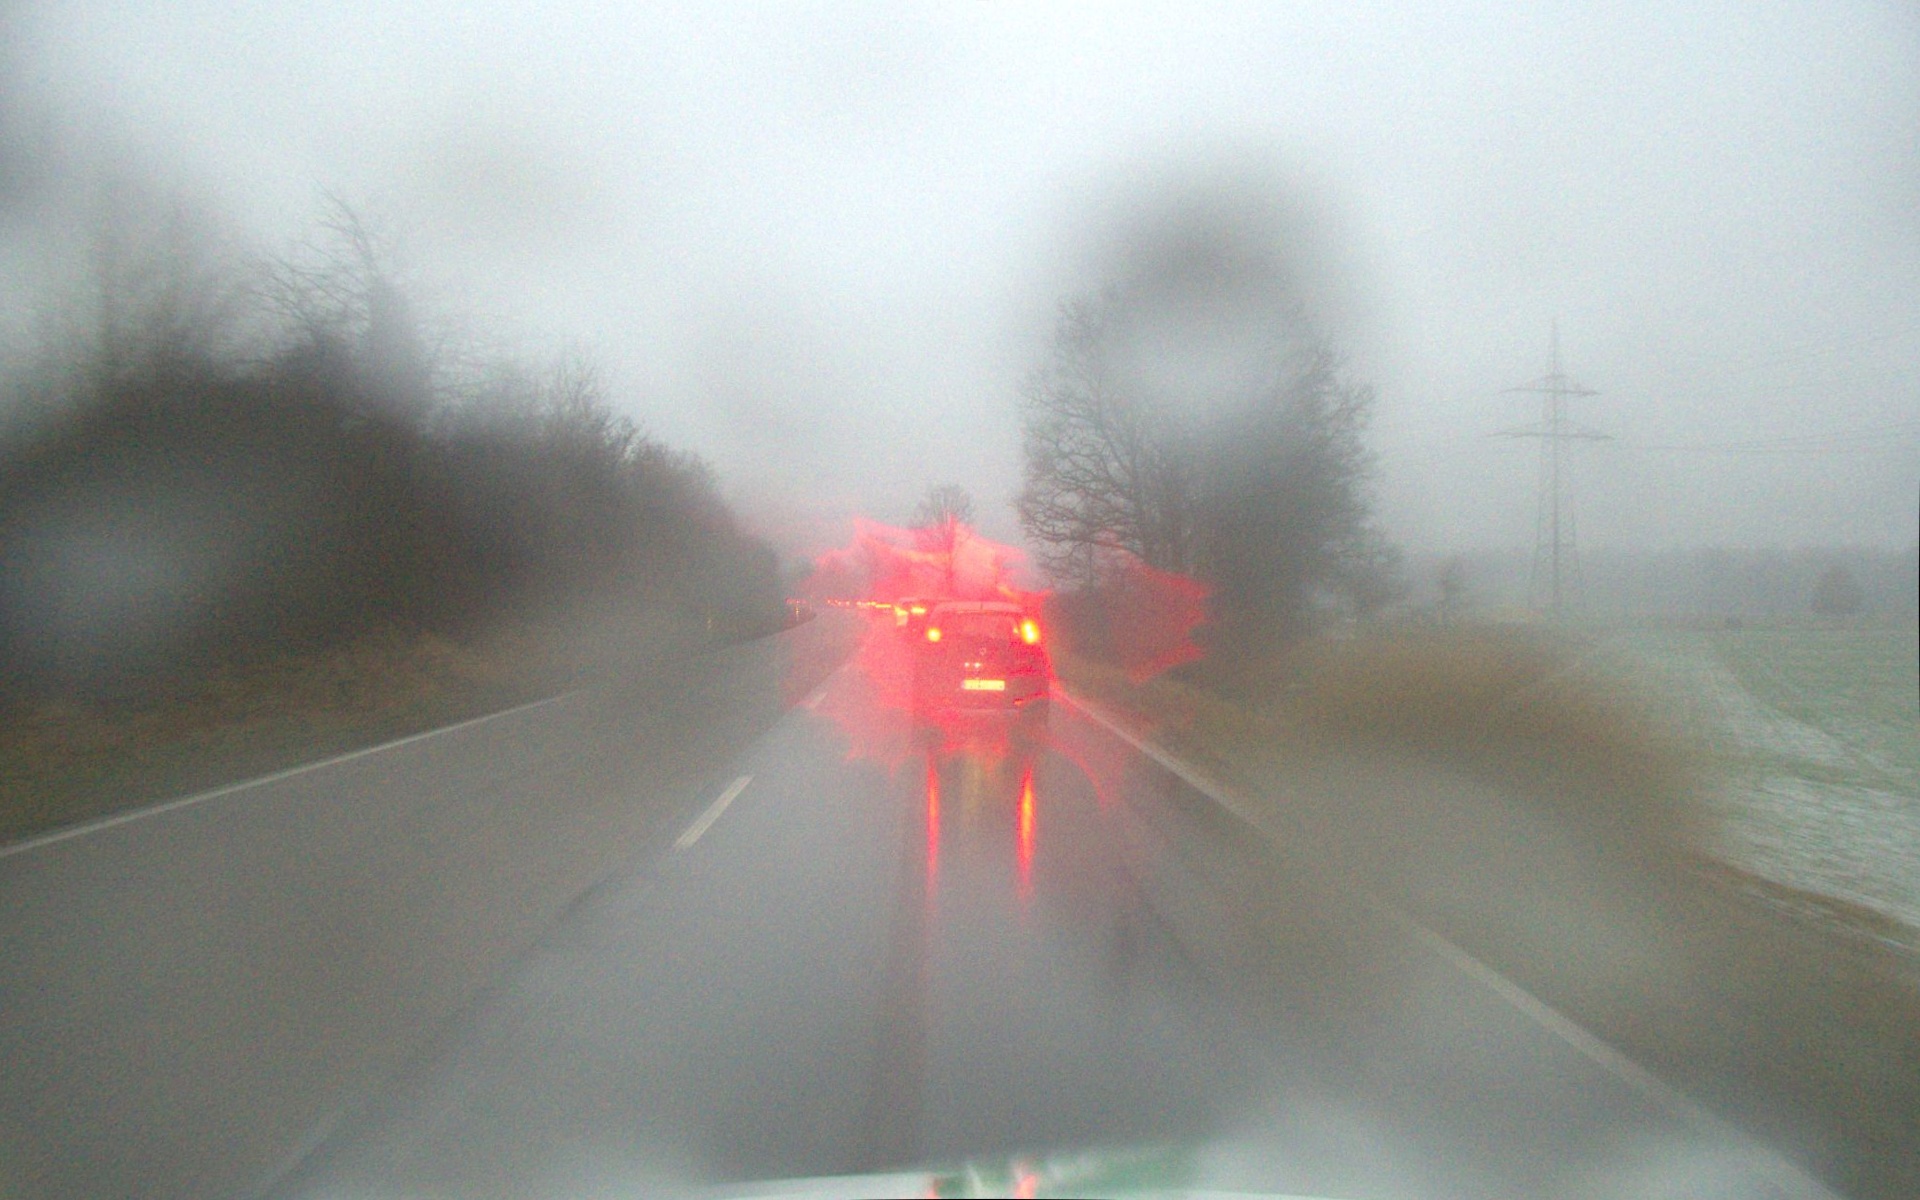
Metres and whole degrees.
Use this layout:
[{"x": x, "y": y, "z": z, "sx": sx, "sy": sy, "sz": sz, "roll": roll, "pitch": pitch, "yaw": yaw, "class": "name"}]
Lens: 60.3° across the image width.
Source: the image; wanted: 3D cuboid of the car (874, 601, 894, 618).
[{"x": -6.426, "y": 0.775, "z": 139.870, "sx": 1.515, "sy": 1.421, "sz": 3.869, "roll": 1, "pitch": 0, "yaw": 0, "class": "car"}]

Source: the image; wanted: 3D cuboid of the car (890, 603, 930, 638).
[{"x": -2.135, "y": 0.869, "z": 71.742, "sx": 1.515, "sy": 1.421, "sz": 3.870, "roll": 1, "pitch": 0, "yaw": 1, "class": "car"}]

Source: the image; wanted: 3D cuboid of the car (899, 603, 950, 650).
[{"x": -1.107, "y": 0.806, "z": 52.336, "sx": 1.515, "sy": 1.421, "sz": 3.869, "roll": 1, "pitch": 0, "yaw": -1, "class": "car"}]

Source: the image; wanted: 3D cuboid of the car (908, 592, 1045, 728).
[{"x": 0.260, "y": 0.705, "z": 21.208, "sx": 1.569, "sy": 1.549, "sz": 3.870, "roll": 1, "pitch": 0, "yaw": 2, "class": "car"}]
